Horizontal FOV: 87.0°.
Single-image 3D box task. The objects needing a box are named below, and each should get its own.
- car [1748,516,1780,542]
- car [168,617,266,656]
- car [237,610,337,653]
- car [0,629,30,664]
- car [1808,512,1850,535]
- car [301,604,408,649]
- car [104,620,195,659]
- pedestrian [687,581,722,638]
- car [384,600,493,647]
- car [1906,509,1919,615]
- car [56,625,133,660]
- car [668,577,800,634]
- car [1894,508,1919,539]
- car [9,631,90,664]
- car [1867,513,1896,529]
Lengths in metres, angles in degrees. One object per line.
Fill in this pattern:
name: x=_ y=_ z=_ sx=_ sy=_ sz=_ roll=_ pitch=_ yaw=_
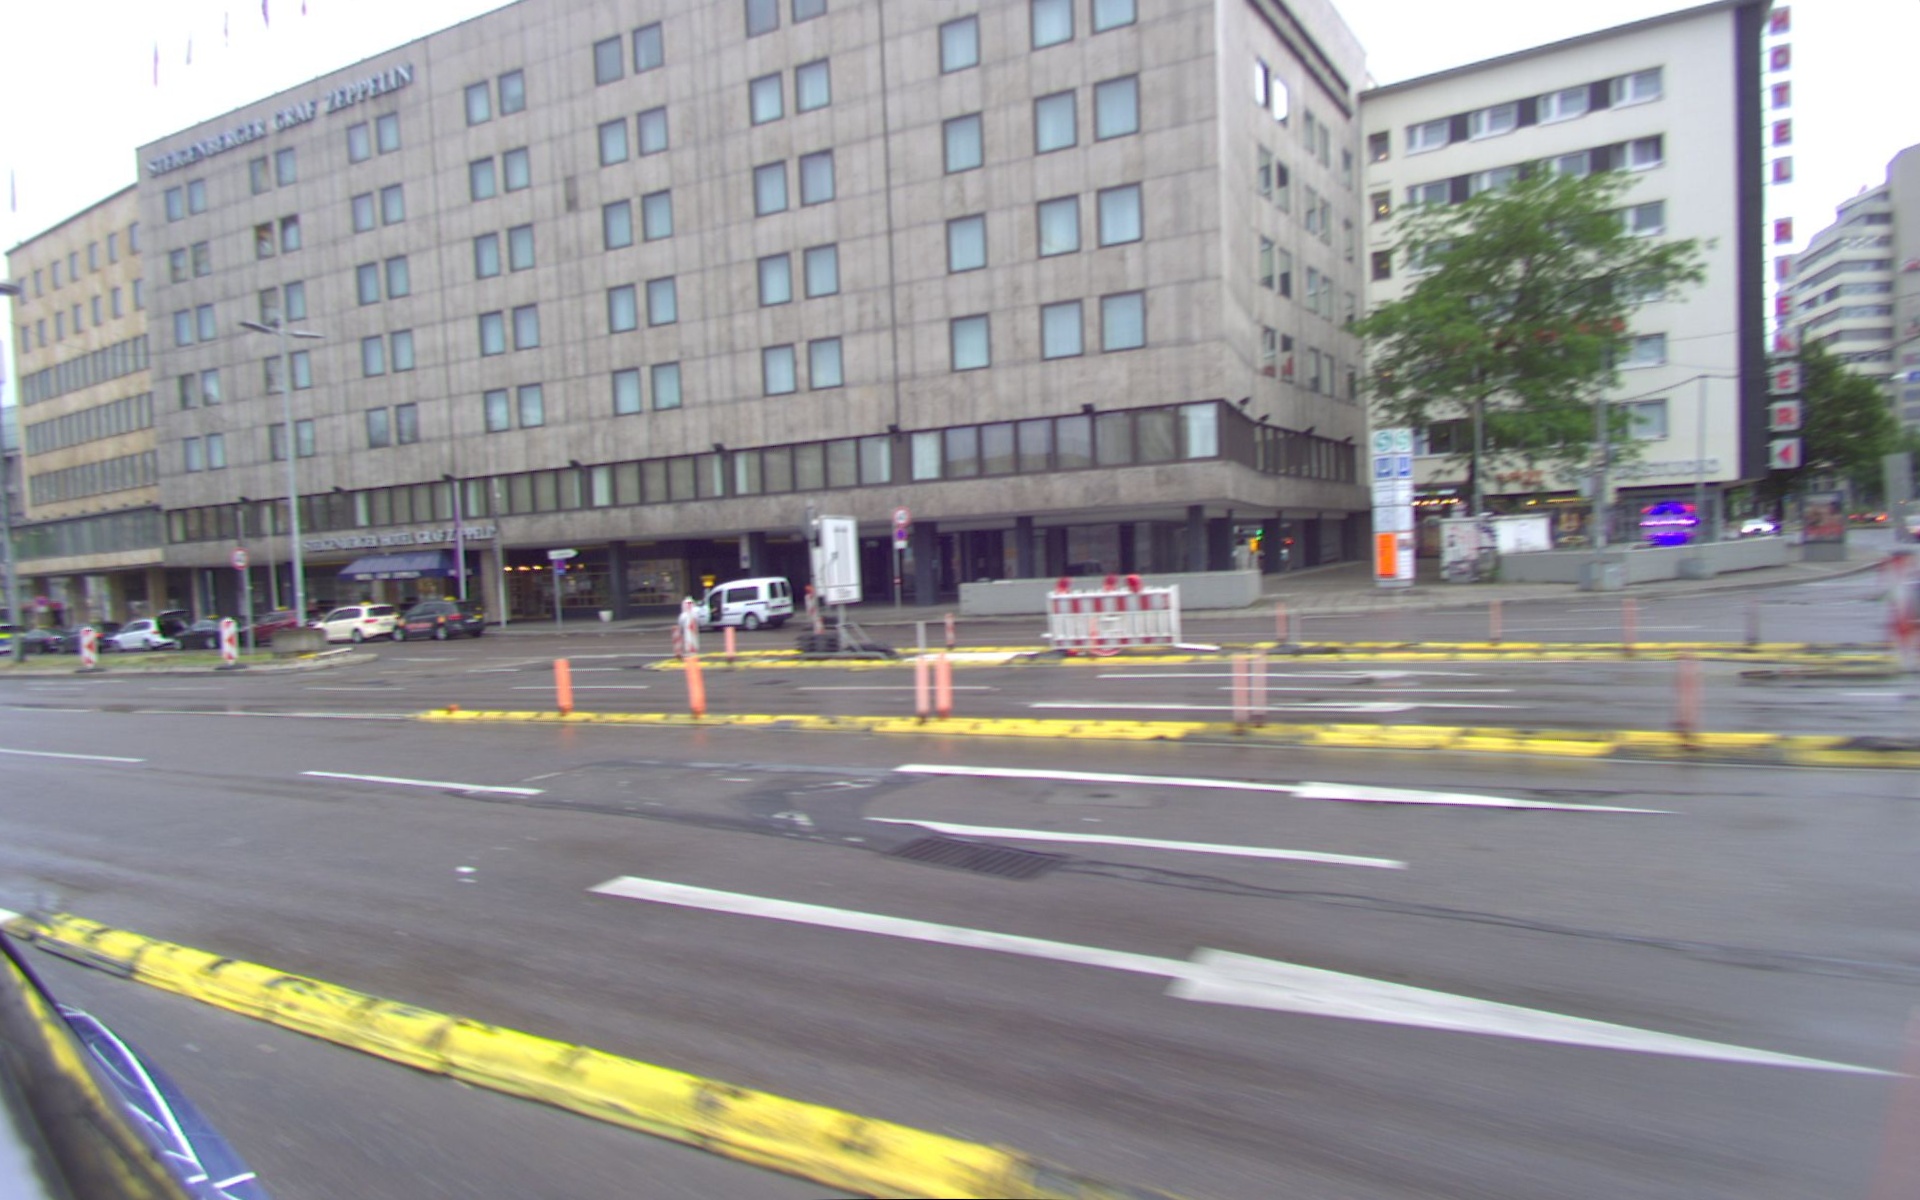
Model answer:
car: x=67.487 y=-5.949 z=85.017 sx=1.921 sy=2.028 sz=3.952 roll=-2 pitch=2 yaw=36
car: x=-36.613 y=1.801 z=49.846 sx=4.592 sy=1.671 sz=1.893 roll=-3 pitch=2 yaw=26
car: x=-31.592 y=1.500 z=47.475 sx=4.625 sy=1.781 sz=1.890 roll=-2 pitch=2 yaw=28
car: x=-58.618 y=2.921 z=61.033 sx=5.046 sy=1.943 sz=1.891 roll=-4 pitch=0 yaw=25
car: x=63.397 y=-5.568 z=73.871 sx=1.777 sy=1.494 sz=3.448 roll=-2 pitch=1 yaw=32
car: x=-26.943 y=1.180 z=45.013 sx=4.553 sy=1.710 sz=1.806 roll=-3 pitch=2 yaw=26
car: x=-41.987 y=2.030 z=52.410 sx=4.684 sy=1.771 sz=1.745 roll=-3 pitch=1 yaw=25
pedestrian: x=-8.791 y=0.321 z=34.823 sx=0.791 sy=1.900 sz=0.688 roll=-3 pitch=1 yaw=25
car: x=-21.963 y=0.993 z=42.591 sx=4.493 sy=1.740 sz=1.805 roll=-2 pitch=2 yaw=28
car: x=16.746 y=-0.681 z=14.403 sx=1.988 sy=1.610 sz=4.668 roll=-4 pitch=2 yaw=-43
car: x=-46.983 y=2.310 z=54.902 sx=4.210 sy=1.694 sz=1.743 roll=-3 pitch=1 yaw=29
car: x=-8.037 y=0.203 z=35.910 sx=4.347 sy=1.775 sz=1.765 roll=-3 pitch=2 yaw=26
car: x=52.377 y=-4.175 z=54.521 sx=2.011 sy=1.610 sz=4.615 roll=-3 pitch=2 yaw=31
car: x=-51.860 y=2.714 z=57.638 sx=4.539 sy=1.633 sz=1.745 roll=-3 pitch=1 yaw=25
car: x=98.782 y=-8.460 z=108.515 sx=1.865 sy=1.534 sz=3.950 roll=-2 pitch=2 yaw=38
